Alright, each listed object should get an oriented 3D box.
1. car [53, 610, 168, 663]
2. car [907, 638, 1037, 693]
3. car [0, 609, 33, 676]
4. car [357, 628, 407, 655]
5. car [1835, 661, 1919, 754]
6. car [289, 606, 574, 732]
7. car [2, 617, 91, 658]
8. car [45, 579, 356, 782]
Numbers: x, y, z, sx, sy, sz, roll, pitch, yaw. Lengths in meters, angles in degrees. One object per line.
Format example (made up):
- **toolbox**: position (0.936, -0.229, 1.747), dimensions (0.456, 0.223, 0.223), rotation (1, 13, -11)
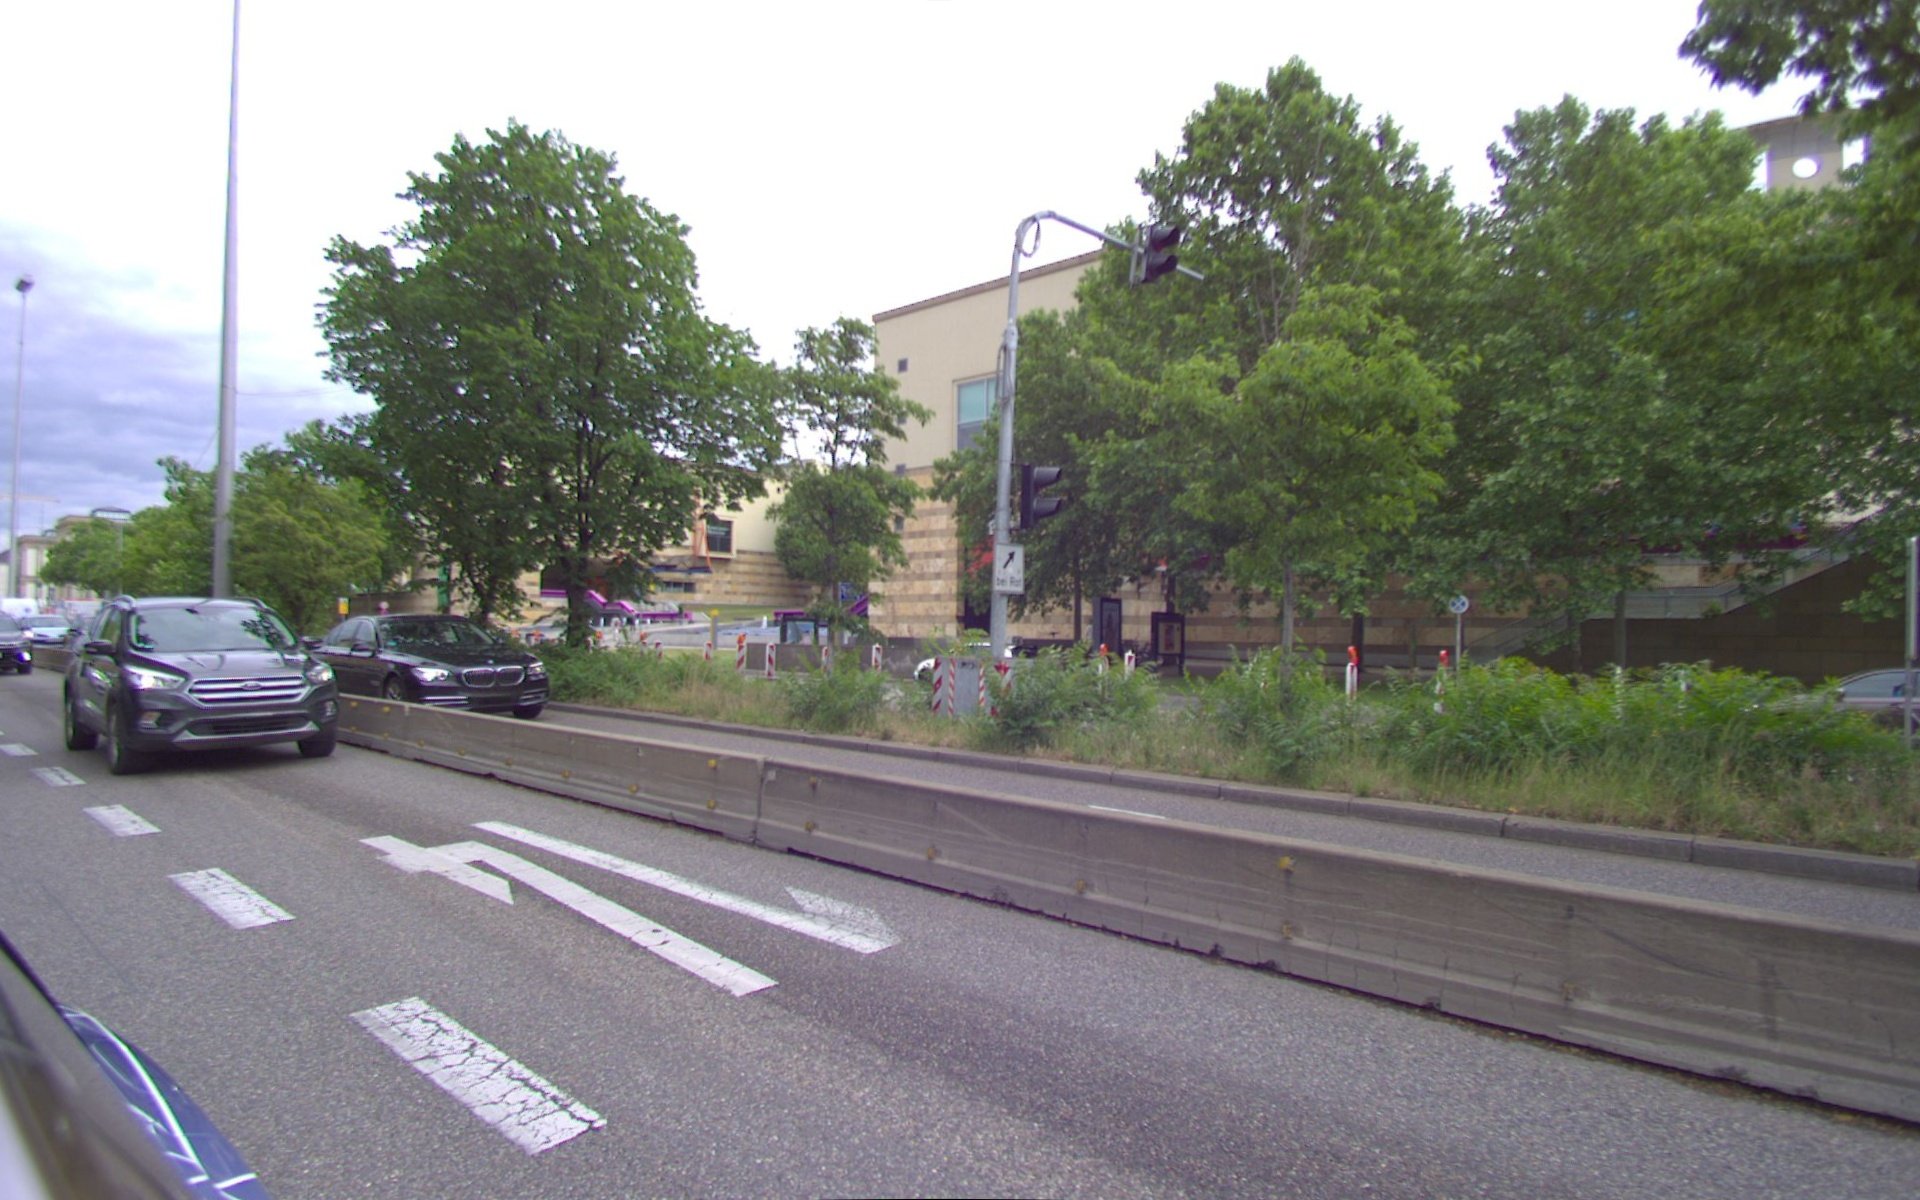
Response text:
- **car**: position (-25.929, 1.084, 30.835), dimensions (4.807, 1.494, 1.973), rotation (-1, -2, 41)
- **car**: position (0.294, 1.815, 28.757), dimensions (3.736, 1.298, 1.338), rotation (0, 1, 41)
- **car**: position (-23.808, 0.992, 24.481), dimensions (4.153, 1.527, 1.743), rotation (0, 0, 43)
- **car**: position (-35.269, 2.519, 61.748), dimensions (3.577, 1.621, 1.561), rotation (-1, -2, 42)
- **car**: position (15.386, 1.675, 15.456), dimensions (3.055, 1.298, 1.338), rotation (0, 1, 41)
- **car**: position (-7.604, 0.881, 14.349), dimensions (4.807, 1.494, 1.973), rotation (-1, -2, 41)
- **car**: position (-35.250, 1.420, 39.016), dimensions (4.807, 1.494, 1.973), rotation (-1, -2, 41)
- **car**: position (-8.330, 0.739, 10.917), dimensions (4.657, 1.728, 1.873), rotation (-2, -1, 43)
